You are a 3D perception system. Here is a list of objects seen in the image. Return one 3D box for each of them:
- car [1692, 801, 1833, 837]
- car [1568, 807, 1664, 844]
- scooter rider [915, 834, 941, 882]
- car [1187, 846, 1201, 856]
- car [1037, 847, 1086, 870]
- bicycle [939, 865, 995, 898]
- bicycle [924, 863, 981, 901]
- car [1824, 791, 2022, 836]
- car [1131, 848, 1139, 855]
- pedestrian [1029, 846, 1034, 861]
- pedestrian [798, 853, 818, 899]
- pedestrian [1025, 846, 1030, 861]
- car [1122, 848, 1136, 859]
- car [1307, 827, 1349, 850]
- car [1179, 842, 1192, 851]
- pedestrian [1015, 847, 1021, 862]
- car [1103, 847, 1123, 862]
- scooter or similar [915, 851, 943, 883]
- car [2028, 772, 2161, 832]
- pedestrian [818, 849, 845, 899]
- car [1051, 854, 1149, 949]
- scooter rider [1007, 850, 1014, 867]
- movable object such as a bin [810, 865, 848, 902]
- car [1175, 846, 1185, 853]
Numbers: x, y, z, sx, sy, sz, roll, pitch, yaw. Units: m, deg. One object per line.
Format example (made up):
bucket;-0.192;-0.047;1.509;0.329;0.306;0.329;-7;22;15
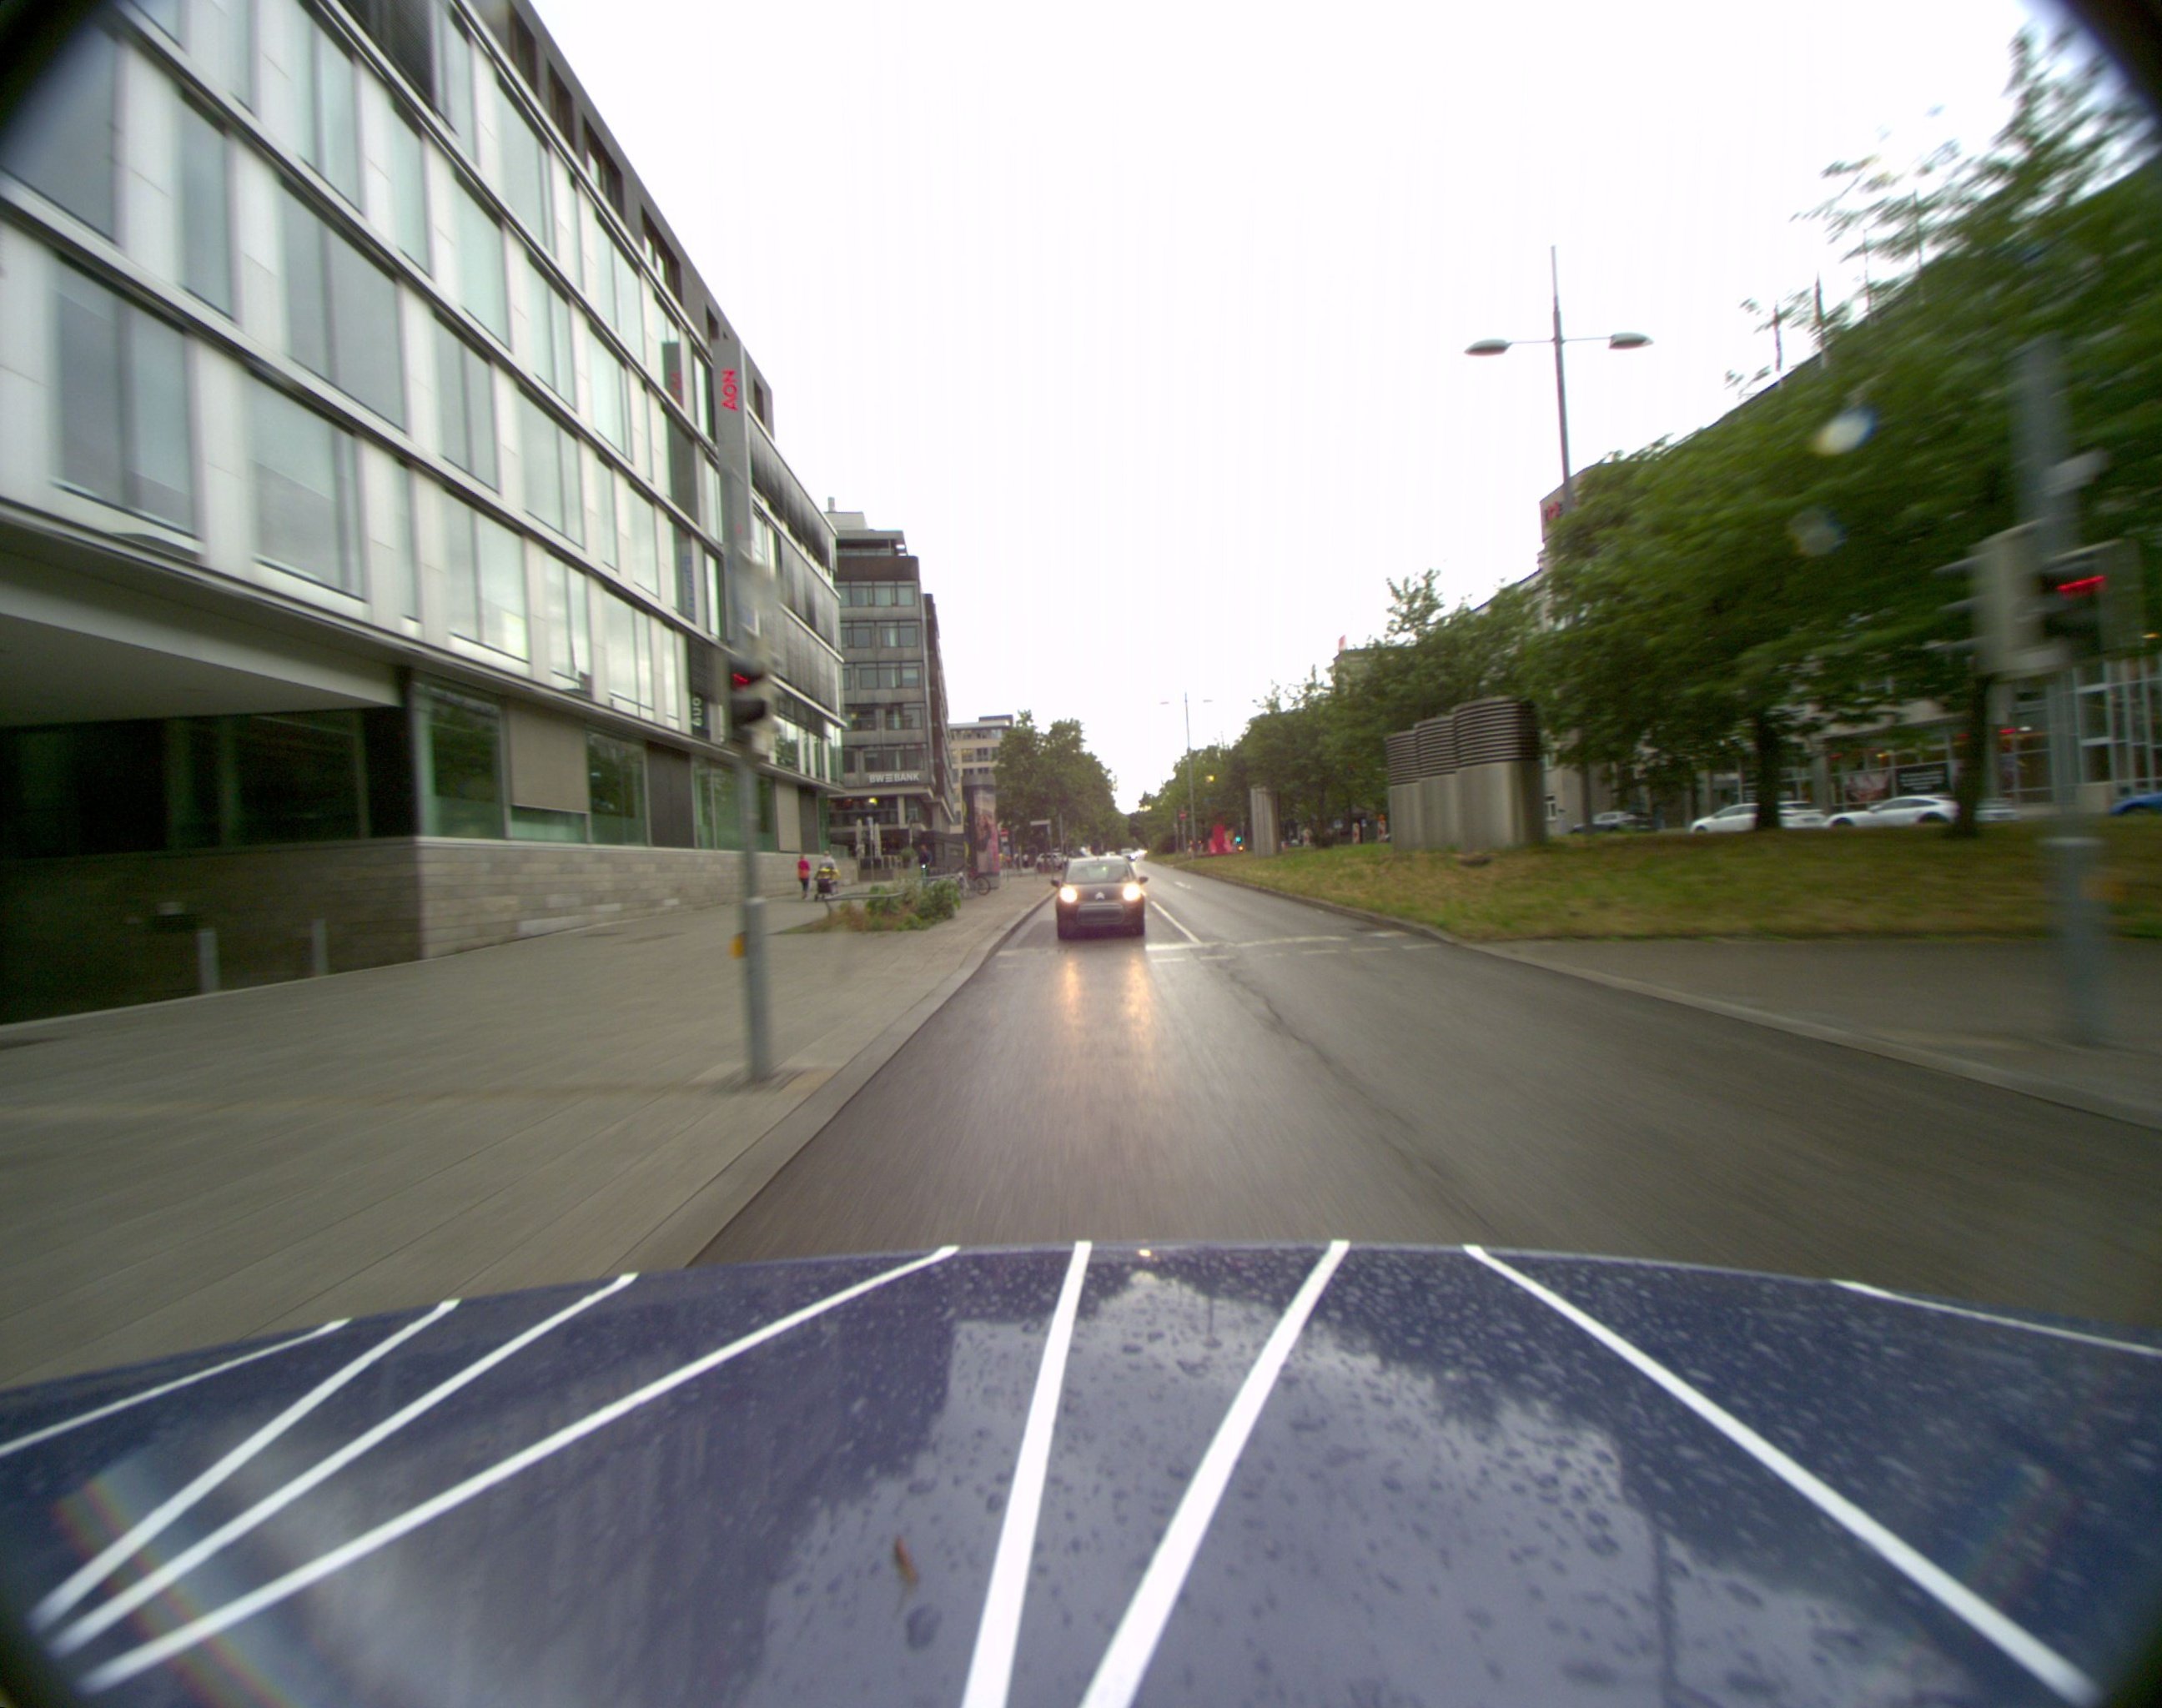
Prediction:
car;26.528;-1.333;29.773;1.575;1.116;4.105;-5;1;-4
car;26.382;-1.347;37.647;1.575;1.571;4.105;-5;1;-4
scooter rider;-6.536;0.154;32.595;0.779;2.009;0.924;-3;1;4
car;21.479;-0.590;144.596;2.072;1.578;4.107;-5;1;0
car;-1.855;0.433;73.037;4.202;1.802;2.003;-4;1;35
bicycle;-4.083;0.968;27.386;1.876;1.104;0.669;-2;1;1
bicycle;-4.291;0.925;25.522;1.797;1.200;0.669;-2;1;-6
car;26.616;-1.235;24.259;1.575;1.116;4.105;-5;1;-4
car;12.949;-0.532;182.378;1.799;1.501;4.499;-3;1;1
pedestrian;-5.735;-0.046;87.229;0.452;1.692;0.497;-3;2;1
pedestrian;-10.327;0.832;28.759;0.485;1.689;0.579;-2;1;-2
pedestrian;-6.153;-0.026;87.183;0.452;1.692;0.497;-3;2;1
car;6.539;-0.054;104.146;1.605;1.377;3.019;-5;1;0
car;19.431;-1.203;59.863;1.880;1.571;4.107;-5;1;0
car;22.598;-1.643;164.201;2.072;1.578;4.107;-5;1;0
pedestrian;-7.275;0.027;87.162;0.552;1.692;0.547;-3;2;1
car;3.754;0.065;90.591;2.072;1.578;4.107;-5;1;0
scooter or similar;-6.513;0.551;32.614;0.779;1.298;1.335;-3;1;4
car;27.458;-1.361;19.108;1.680;1.377;4.318;-5;1;-4
pedestrian;-9.465;0.750;28.805;0.723;1.820;0.746;-2;1;-2
car;0.375;0.822;14.906;1.594;1.501;3.709;-3;1;2
scooter rider;-8.810;0.538;94.892;0.627;2.013;0.854;-3;1;-2
movable object such as a bin;-9.112;1.047;27.546;0.805;1.258;1.787;-2;1;-2
car;23.822;-1.027;182.137;1.799;1.501;4.499;-3;1;1
